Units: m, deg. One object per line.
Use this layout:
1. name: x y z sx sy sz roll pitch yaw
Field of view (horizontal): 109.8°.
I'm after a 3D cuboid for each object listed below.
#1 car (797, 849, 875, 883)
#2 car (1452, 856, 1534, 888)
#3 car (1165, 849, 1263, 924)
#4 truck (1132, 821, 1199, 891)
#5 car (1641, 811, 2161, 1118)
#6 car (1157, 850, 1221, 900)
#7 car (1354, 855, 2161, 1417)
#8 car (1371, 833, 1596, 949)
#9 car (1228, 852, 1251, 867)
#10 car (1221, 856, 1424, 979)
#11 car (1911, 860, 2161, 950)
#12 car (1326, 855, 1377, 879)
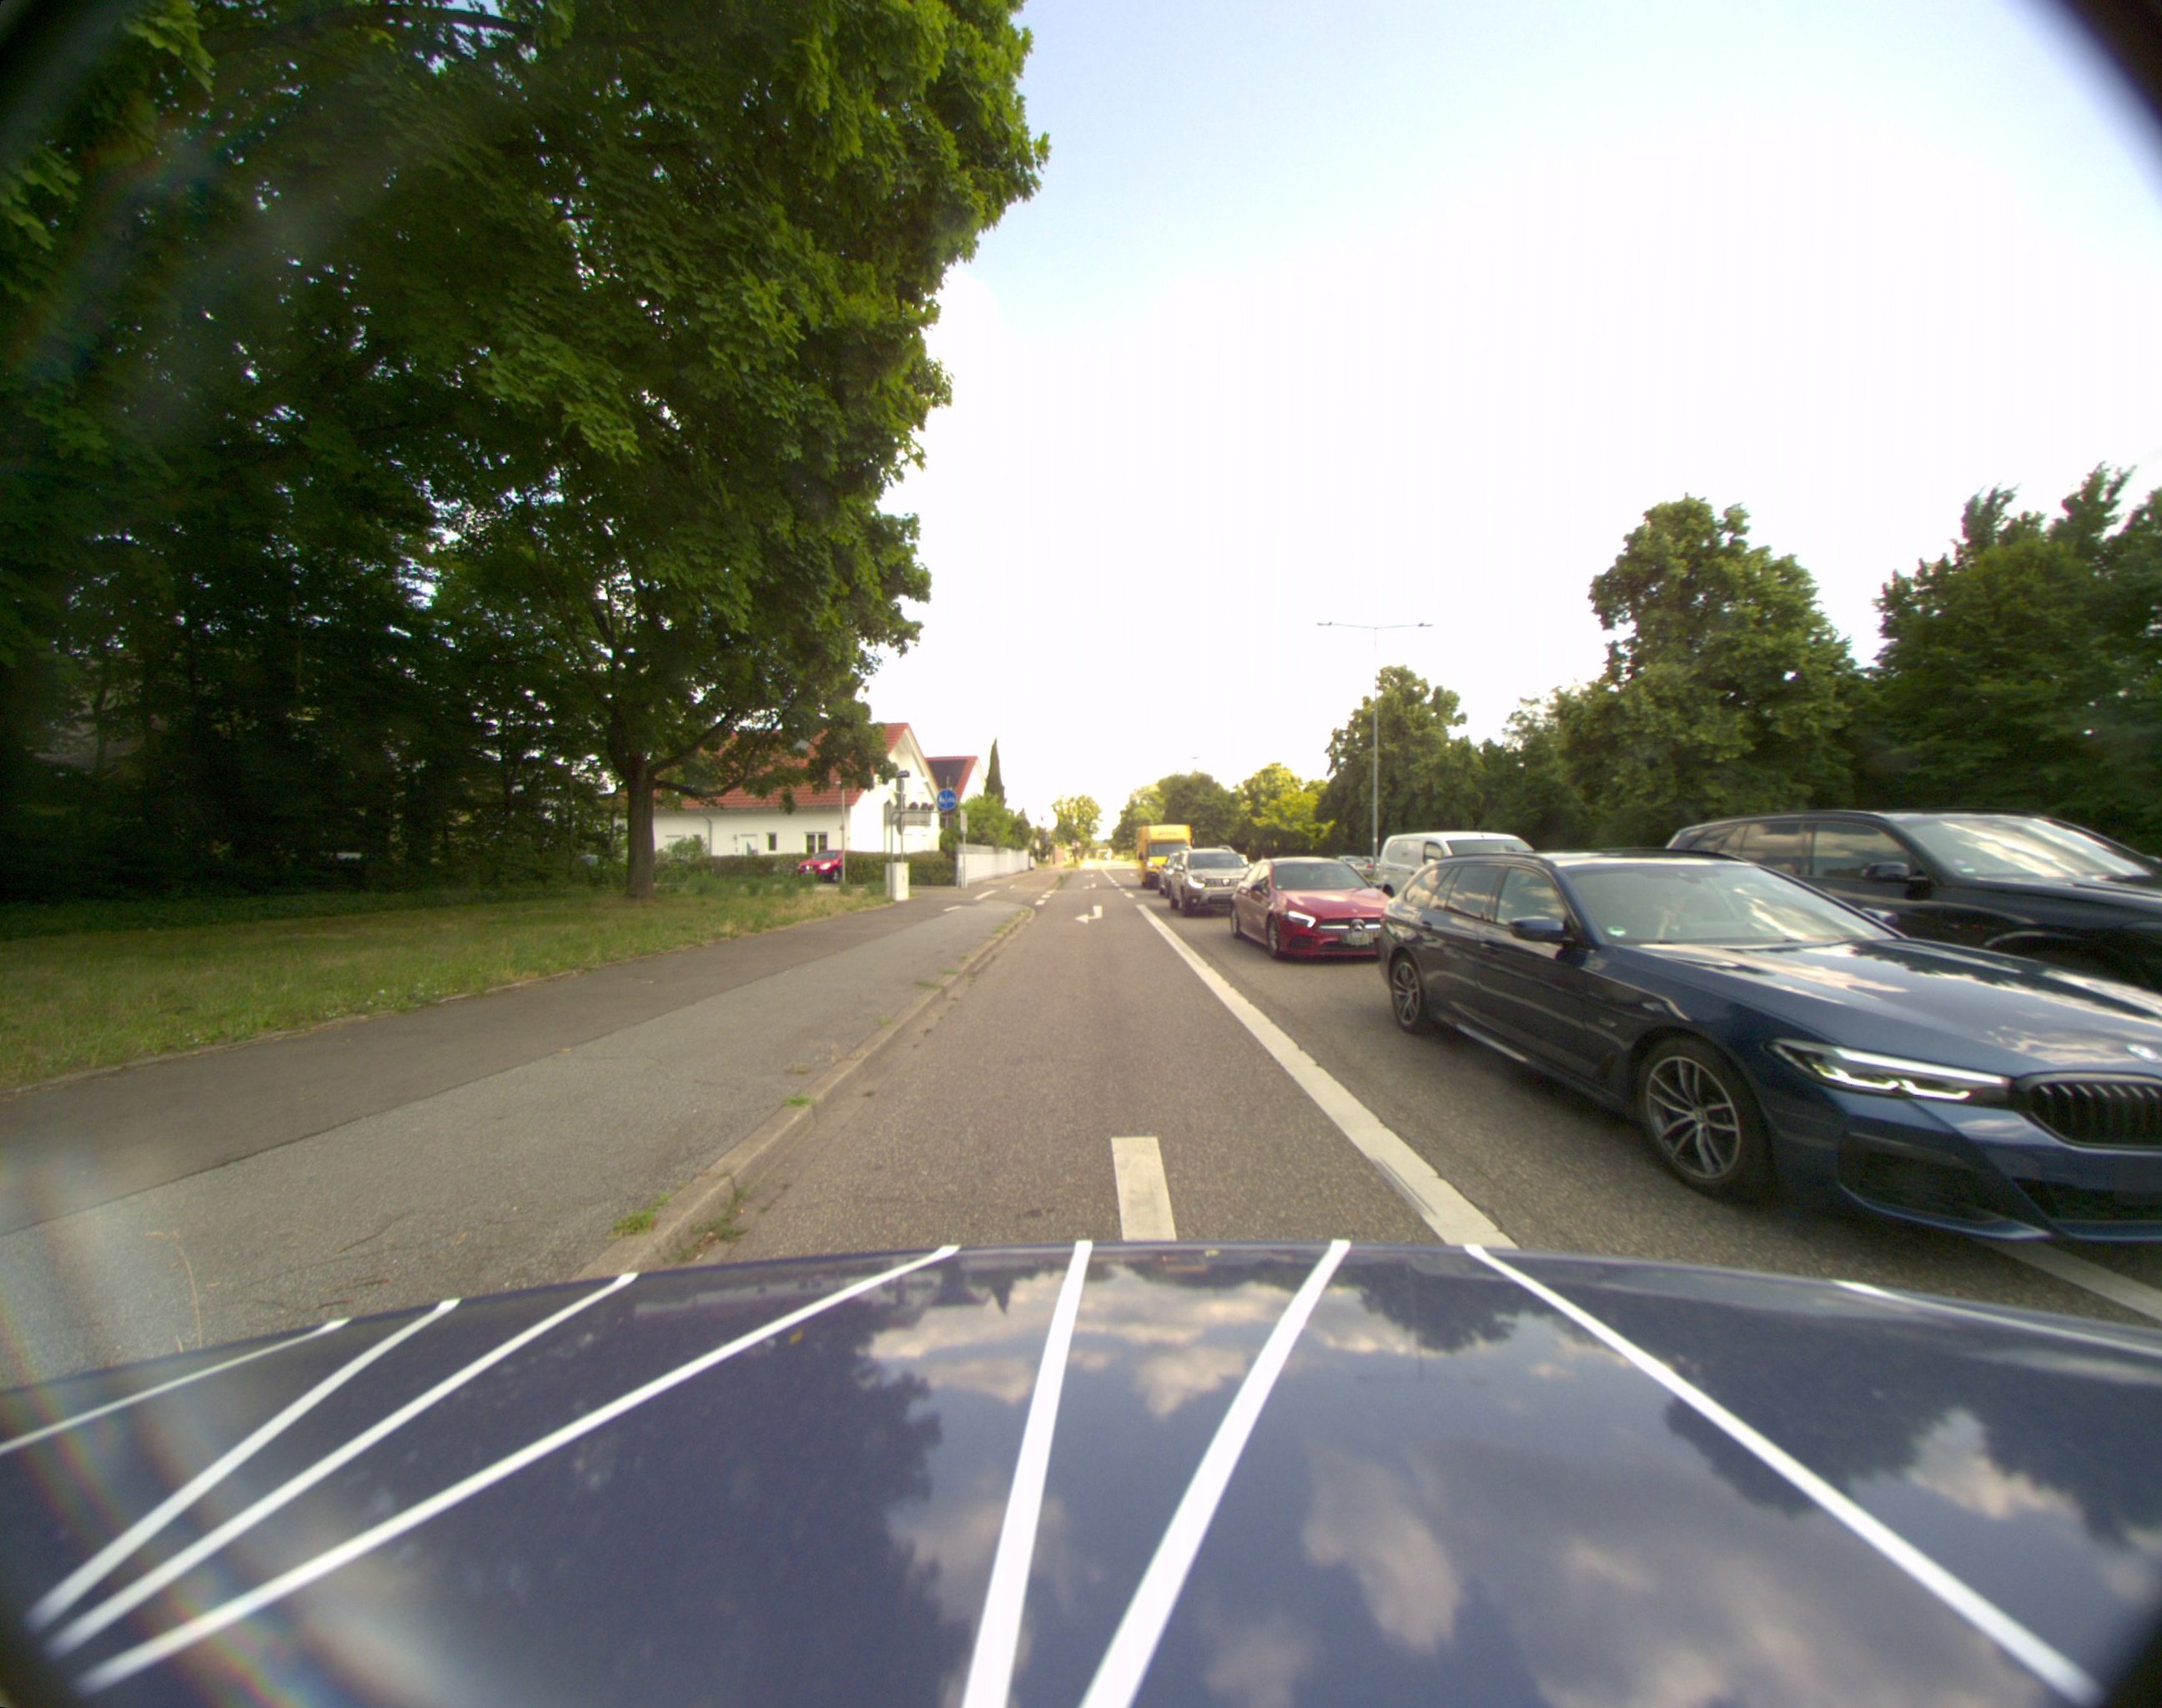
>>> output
1. car: -11.782 0.541 36.845 1.679 1.521 4.397 0 0 11
2. car: 19.761 0.821 36.675 1.672 1.379 4.237 1 1 1
3. car: 3.197 0.702 18.969 1.727 1.602 4.175 -1 1 1
4. truck: 3.782 0.072 35.455 2.363 2.843 6.966 -2 0 1
5. car: 7.032 0.587 6.064 1.817 1.736 4.549 -1 1 1
6. car: 3.742 0.681 26.863 1.727 1.522 3.893 -2 1 1
7. car: 3.422 0.812 4.596 1.801 1.488 4.872 -2 1 1
8. car: 7.221 0.552 14.297 1.770 1.788 4.730 -1 1 1
9. car: 16.863 0.567 81.098 1.672 1.379 3.999 -2 1 1
10. car: 3.450 0.808 11.816 1.727 1.454 4.535 -2 0 1
11. car: 19.042 0.886 14.590 1.531 1.449 4.206 0 1 -1
12. car: 16.558 0.743 46.724 1.672 1.416 4.238 0 0 1
